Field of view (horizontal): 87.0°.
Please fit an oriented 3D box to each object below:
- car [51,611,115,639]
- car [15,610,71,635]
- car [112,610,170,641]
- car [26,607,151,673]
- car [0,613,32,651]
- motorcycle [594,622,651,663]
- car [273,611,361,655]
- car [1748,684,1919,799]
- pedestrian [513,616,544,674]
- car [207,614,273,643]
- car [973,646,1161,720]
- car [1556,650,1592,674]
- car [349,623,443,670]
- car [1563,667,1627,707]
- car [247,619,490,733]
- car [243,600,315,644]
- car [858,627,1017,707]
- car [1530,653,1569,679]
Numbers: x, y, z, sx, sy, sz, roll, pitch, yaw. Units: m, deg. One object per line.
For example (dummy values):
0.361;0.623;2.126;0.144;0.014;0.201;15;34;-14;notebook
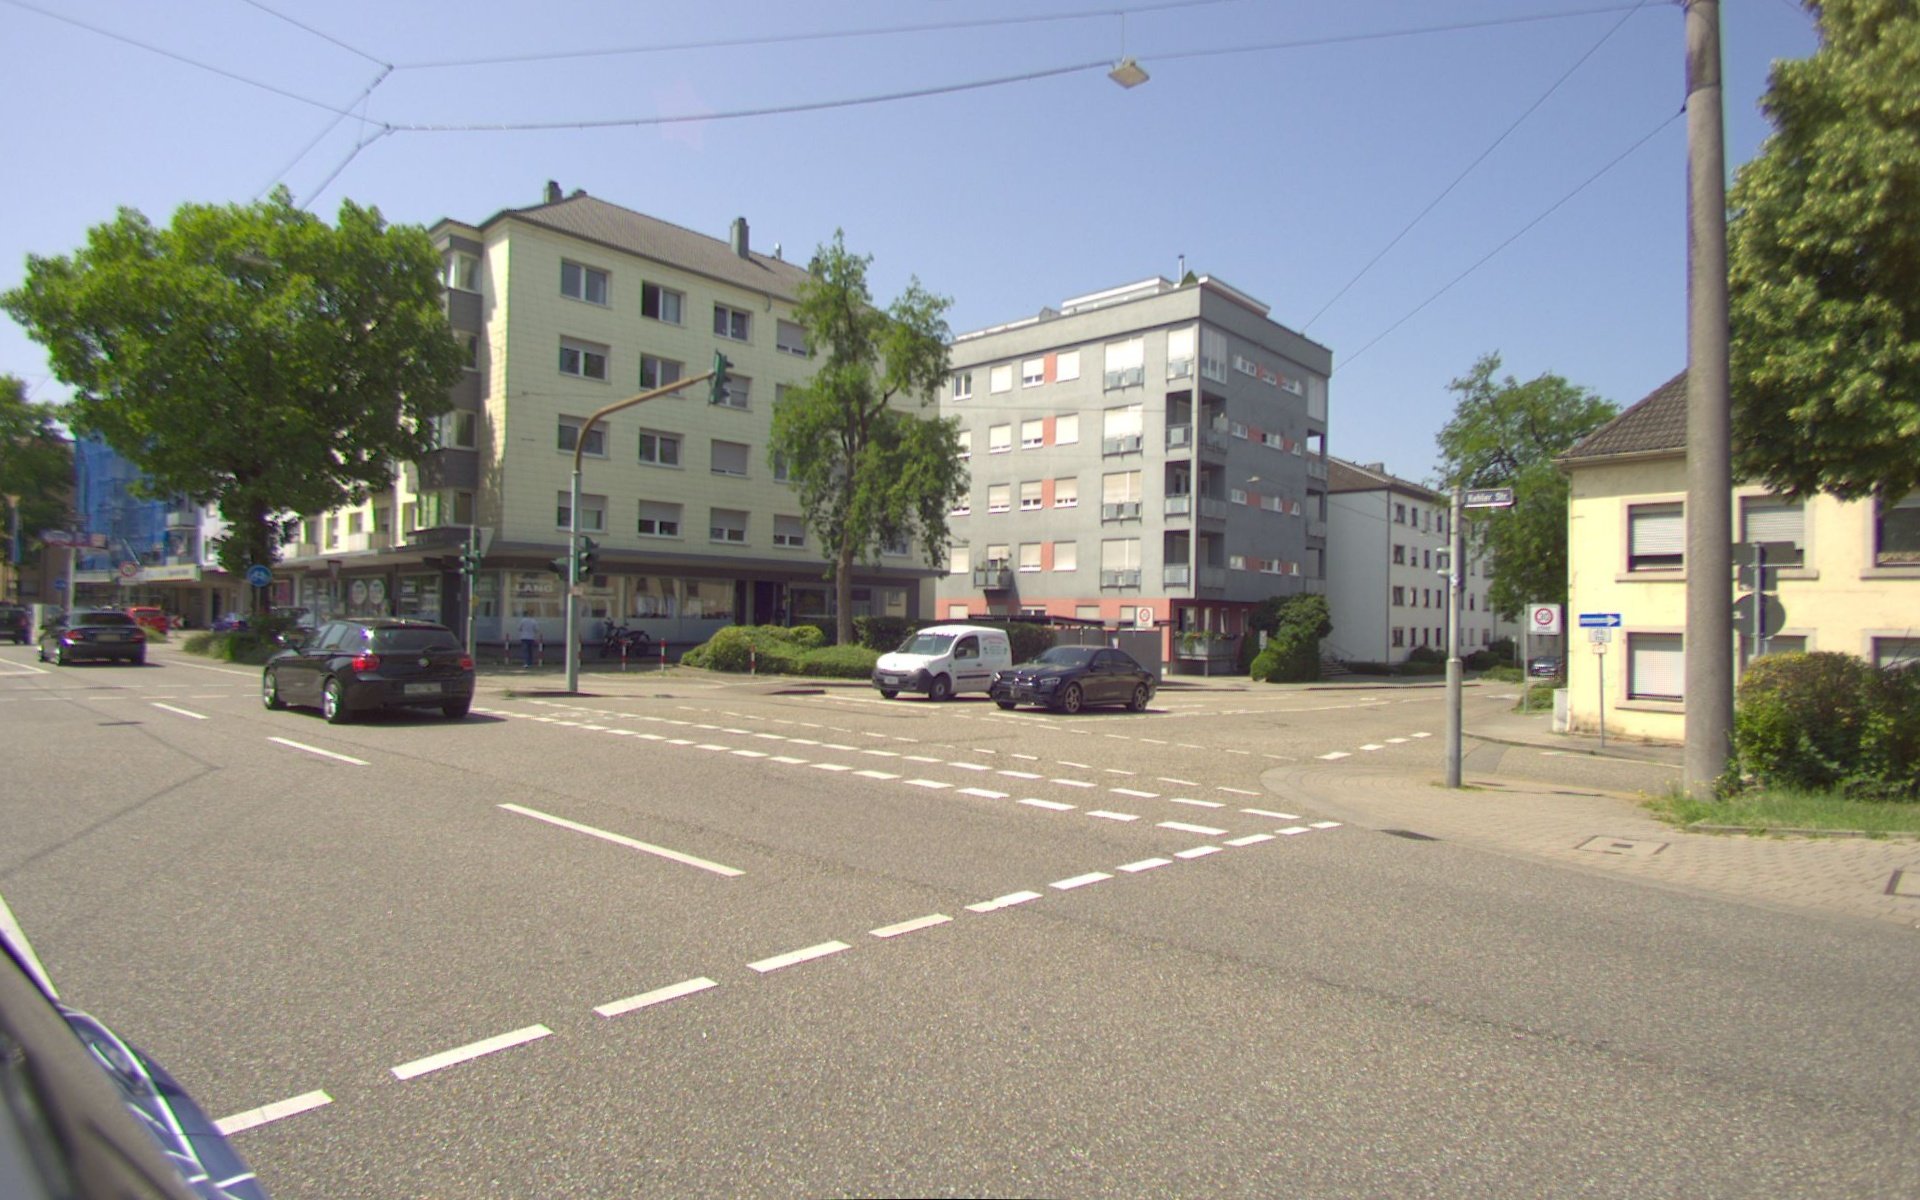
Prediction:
-48.937;1.385;56.460;4.328;1.531;1.889;0;-2;38;car
-57.099;1.400;63.010;4.328;1.531;1.889;0;-2;38;car
-40.623;1.253;50.164;3.633;1.479;1.617;0;-2;42;car
-22.836;1.017;26.464;4.314;1.572;1.737;0;-3;40;car
-38.096;1.257;39.963;3.706;1.467;1.600;-1;-3;40;car
-12.658;1.579;38.002;0.714;1.431;1.894;2;1;41;motorcycle
-25.472;1.270;40.030;4.837;1.581;1.605;0;-1;41;car
15.816;2.300;15.814;1.792;1.641;5.293;5;-3;-41;car
-13.534;1.418;31.722;0.742;1.773;0.620;-6;-5;40;pedestrian
-33.929;1.322;47.663;3.859;1.296;1.682;0;-1;41;car
2.495;1.837;22.549;2.113;1.412;4.561;0;-4;37;car
47.852;4.808;78.830;3.203;1.684;1.550;0;0;-43;car
-19.440;1.564;34.848;3.938;1.470;1.566;0;-1;41;car
28.554;3.863;45.440;1.809;1.417;3.945;0;0;42;car
-8.692;1.024;14.752;4.048;1.410;1.817;0;-3;41;car
-29.713;0.947;44.125;3.857;1.853;1.622;-1;-1;41;car
-0.473;1.611;24.379;1.892;1.748;3.649;-1;-4;39;car
43.056;4.813;73.904;3.203;1.684;1.550;0;0;-43;car
